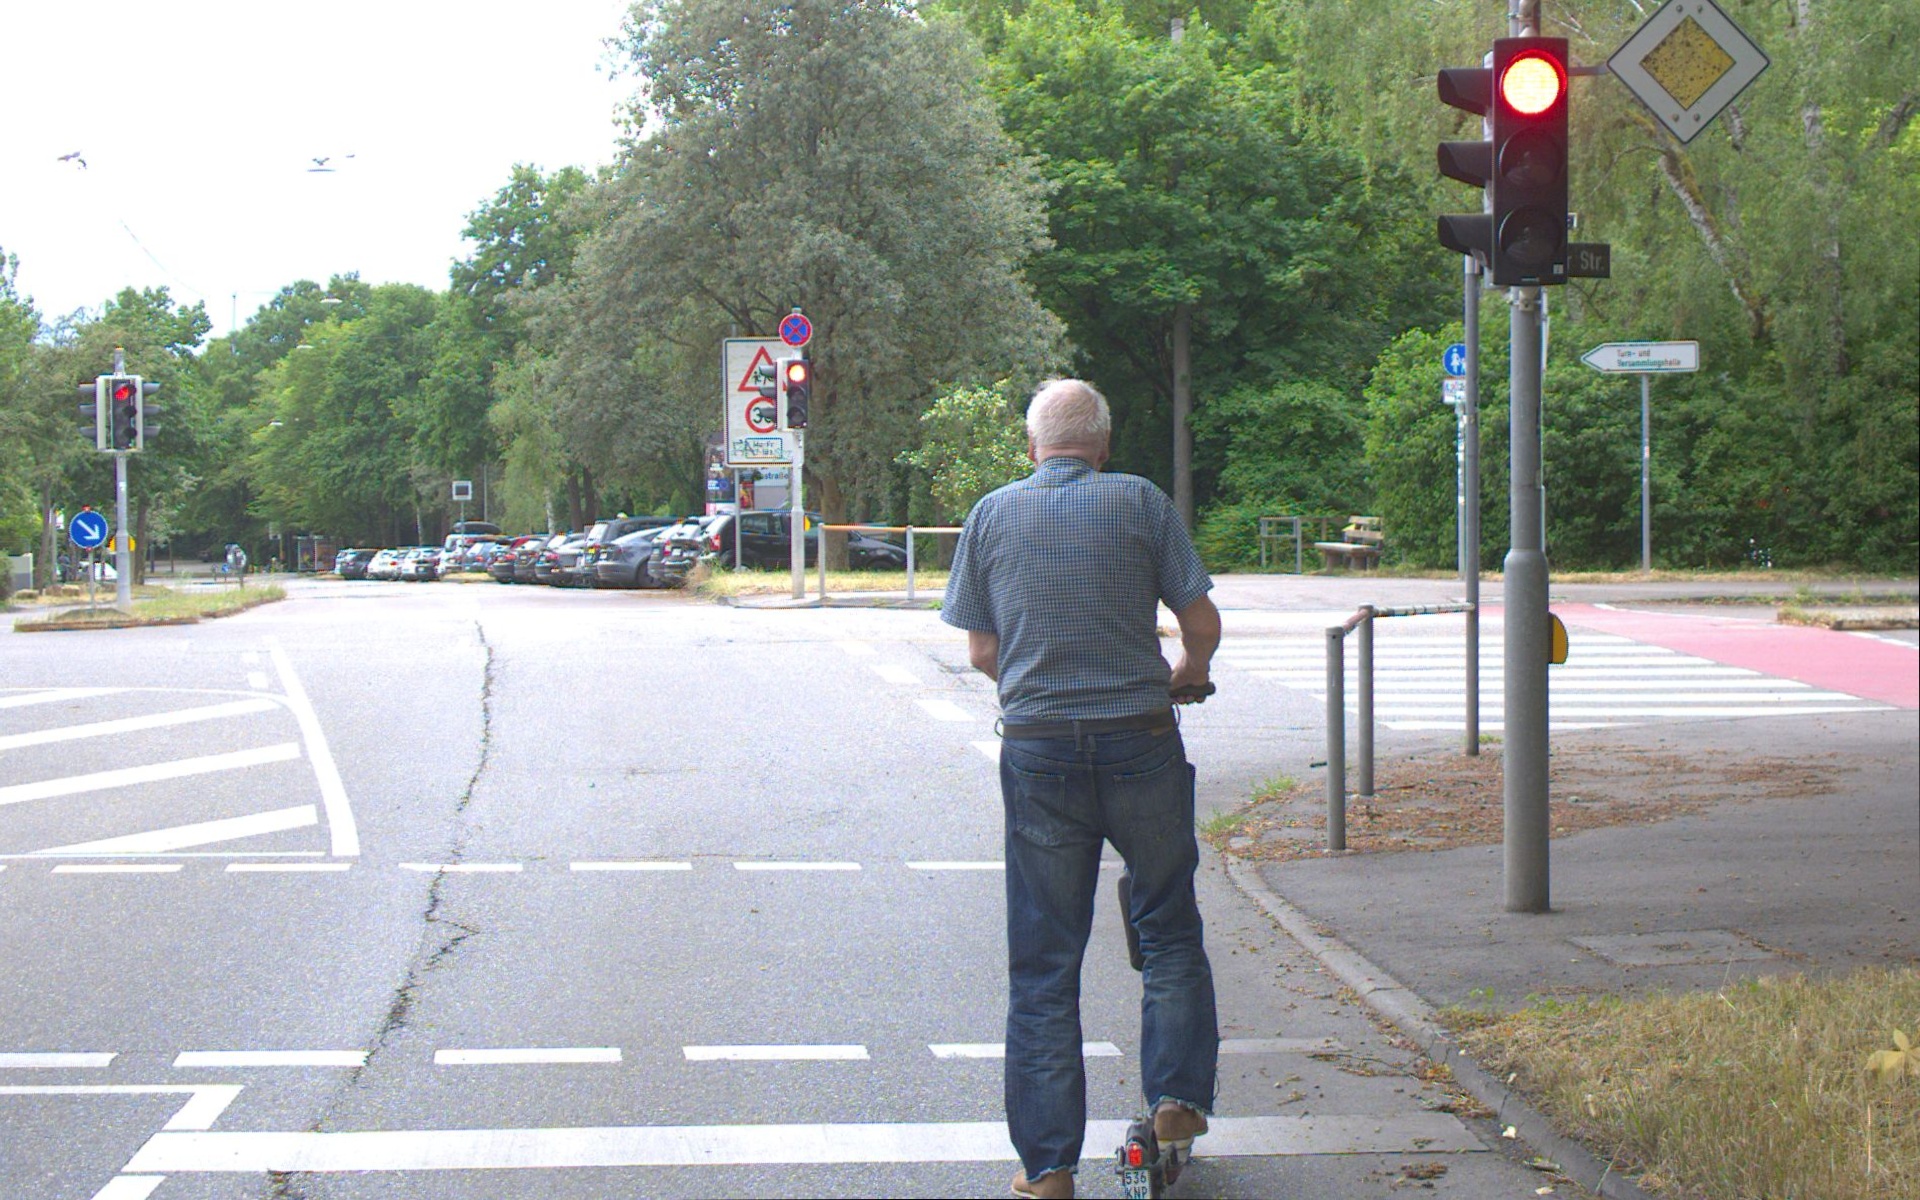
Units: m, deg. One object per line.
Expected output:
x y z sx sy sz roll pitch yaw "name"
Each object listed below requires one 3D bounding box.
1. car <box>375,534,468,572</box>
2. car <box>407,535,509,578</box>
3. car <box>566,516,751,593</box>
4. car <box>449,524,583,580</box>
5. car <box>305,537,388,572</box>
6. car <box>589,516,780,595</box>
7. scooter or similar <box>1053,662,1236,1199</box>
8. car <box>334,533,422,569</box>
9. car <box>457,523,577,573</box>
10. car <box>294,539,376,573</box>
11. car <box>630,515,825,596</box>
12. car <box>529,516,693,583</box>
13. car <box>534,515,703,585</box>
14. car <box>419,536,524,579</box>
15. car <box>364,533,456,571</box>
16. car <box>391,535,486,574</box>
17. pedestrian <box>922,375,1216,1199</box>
-24.459 -2.143 156.206 3.840 1.605 1.729 -3 2 -23 "car"
-20.862 -1.818 142.770 3.840 1.605 1.729 -3 2 -23 "car"
-6.959 -1.057 79.305 3.840 1.605 1.729 -3 2 -23 "car"
-14.064 -1.530 108.928 3.840 1.605 1.729 -3 2 -23 "car"
-31.339 -2.325 175.637 3.840 1.605 1.729 -3 2 -23 "car"
-6.157 -1.005 76.764 3.841 1.605 1.728 -3 2 -24 "car"
0.413 0.749 7.401 0.282 1.174 1.177 -1 1 8 "scooter or similar"
-28.072 -2.373 165.841 3.840 1.605 1.729 -3 2 -23 "car"
-15.711 -1.843 121.894 3.840 1.605 1.729 -3 2 -23 "car"
-32.361 -2.298 177.975 3.840 1.605 1.729 -3 2 -23 "car"
-5.056 -0.974 74.793 3.840 1.605 1.729 -2 2 -21 "car"
-9.049 -1.317 89.064 3.840 1.605 1.729 -3 2 -23 "car"
-8.608 -1.271 86.652 3.840 1.605 1.729 -3 2 -23 "car"
-19.757 -1.737 139.096 3.840 1.605 1.729 -3 2 -23 "car"
-25.402 -2.203 158.776 3.840 1.605 1.729 -3 2 -23 "car"
-23.385 -2.045 154.074 3.840 1.605 1.729 -3 2 -23 "car"
0.248 0.423 7.571 0.573 1.807 0.420 -1 1 8 "pedestrian"
